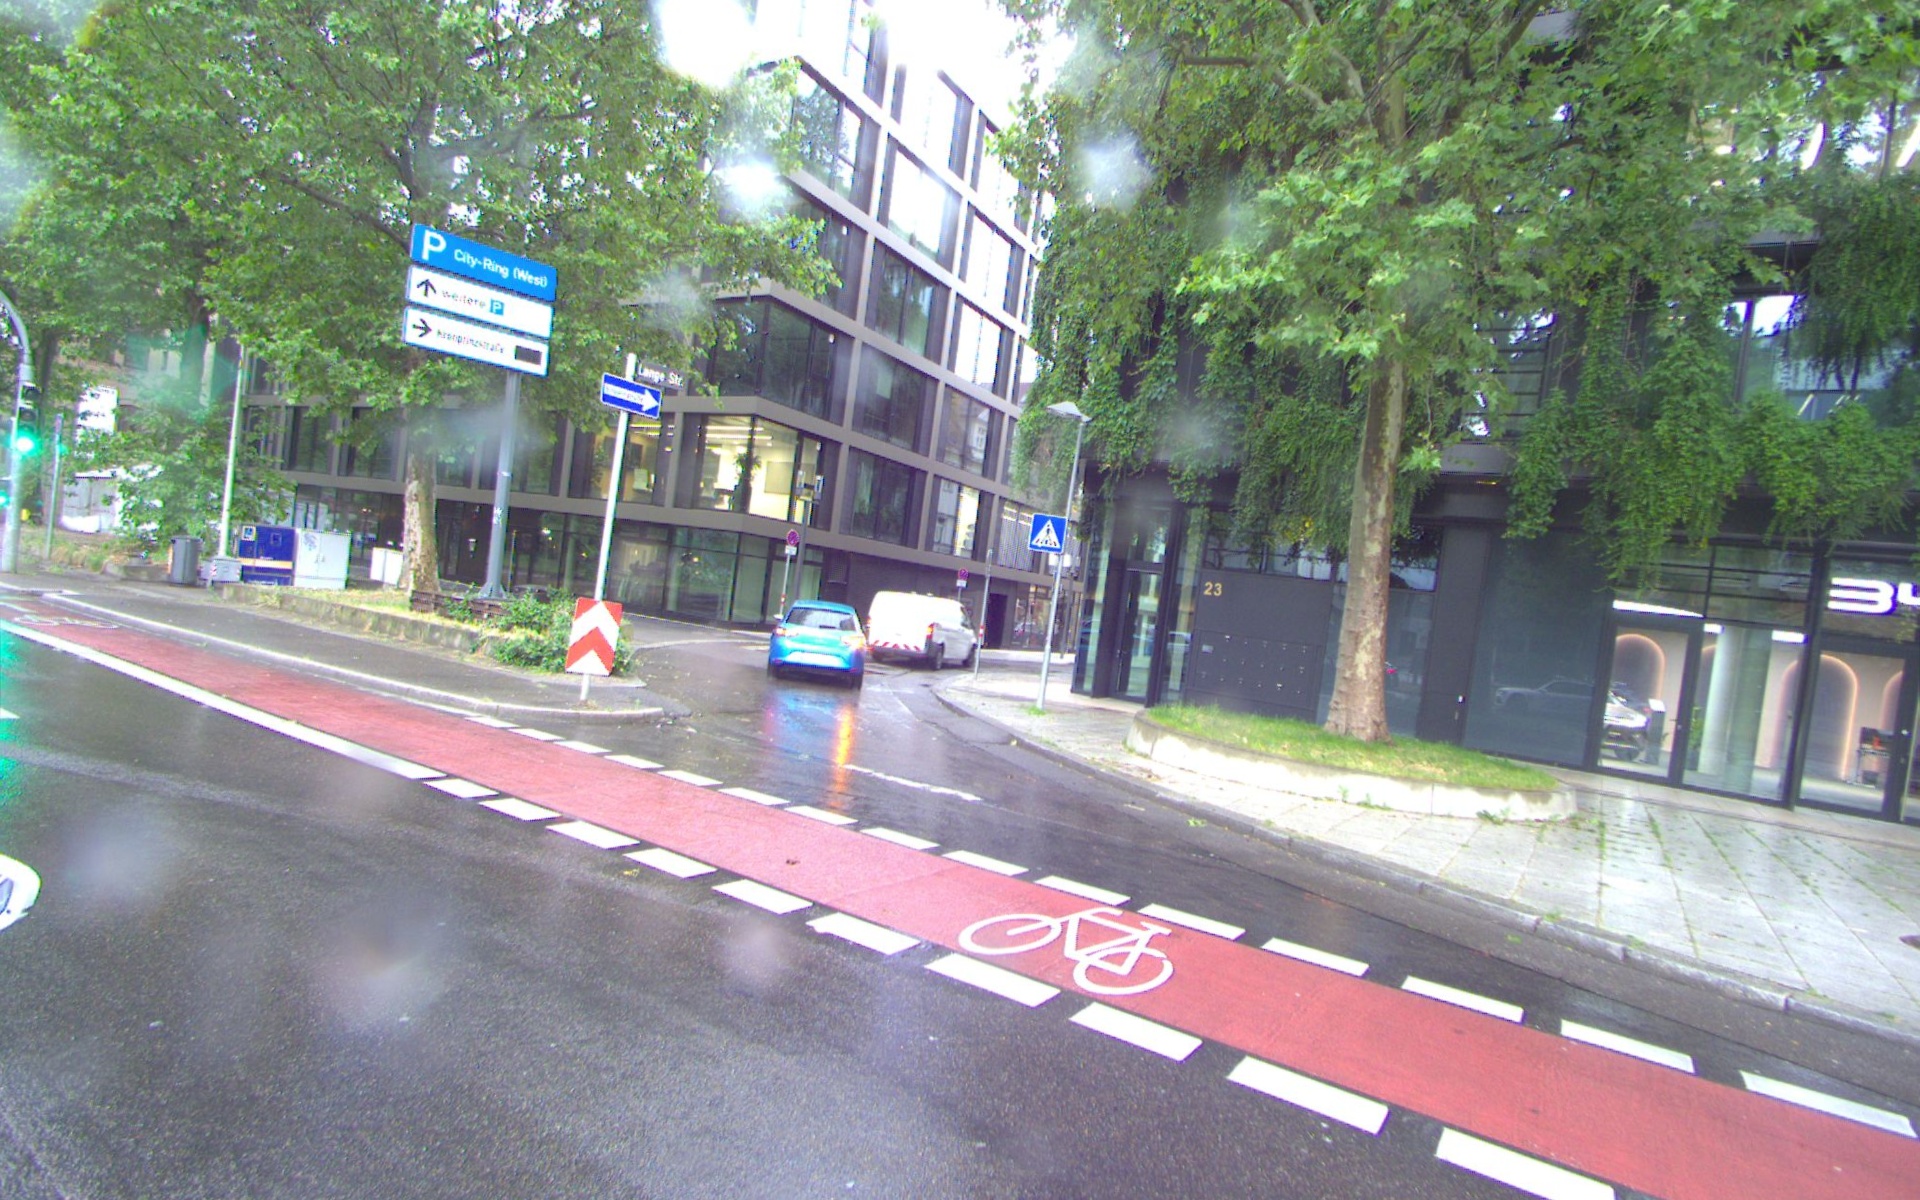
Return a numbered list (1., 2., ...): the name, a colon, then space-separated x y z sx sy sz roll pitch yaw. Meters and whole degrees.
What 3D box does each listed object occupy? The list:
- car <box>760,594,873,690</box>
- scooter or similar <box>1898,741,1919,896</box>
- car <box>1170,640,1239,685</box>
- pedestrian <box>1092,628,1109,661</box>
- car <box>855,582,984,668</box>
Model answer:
1. car: -2.645 0.736 19.154 1.769 1.453 4.059 6 -1 -6
2. scooter or similar: 8.486 1.880 8.111 0.528 1.297 1.184 7 -1 -8
3. car: 10.781 2.770 44.156 1.814 1.607 3.997 6 -2 30
4. pedestrian: 7.143 2.257 51.102 0.537 1.579 0.503 6 -1 29
5. car: -0.968 0.758 27.608 1.889 1.969 4.968 6 -1 16
